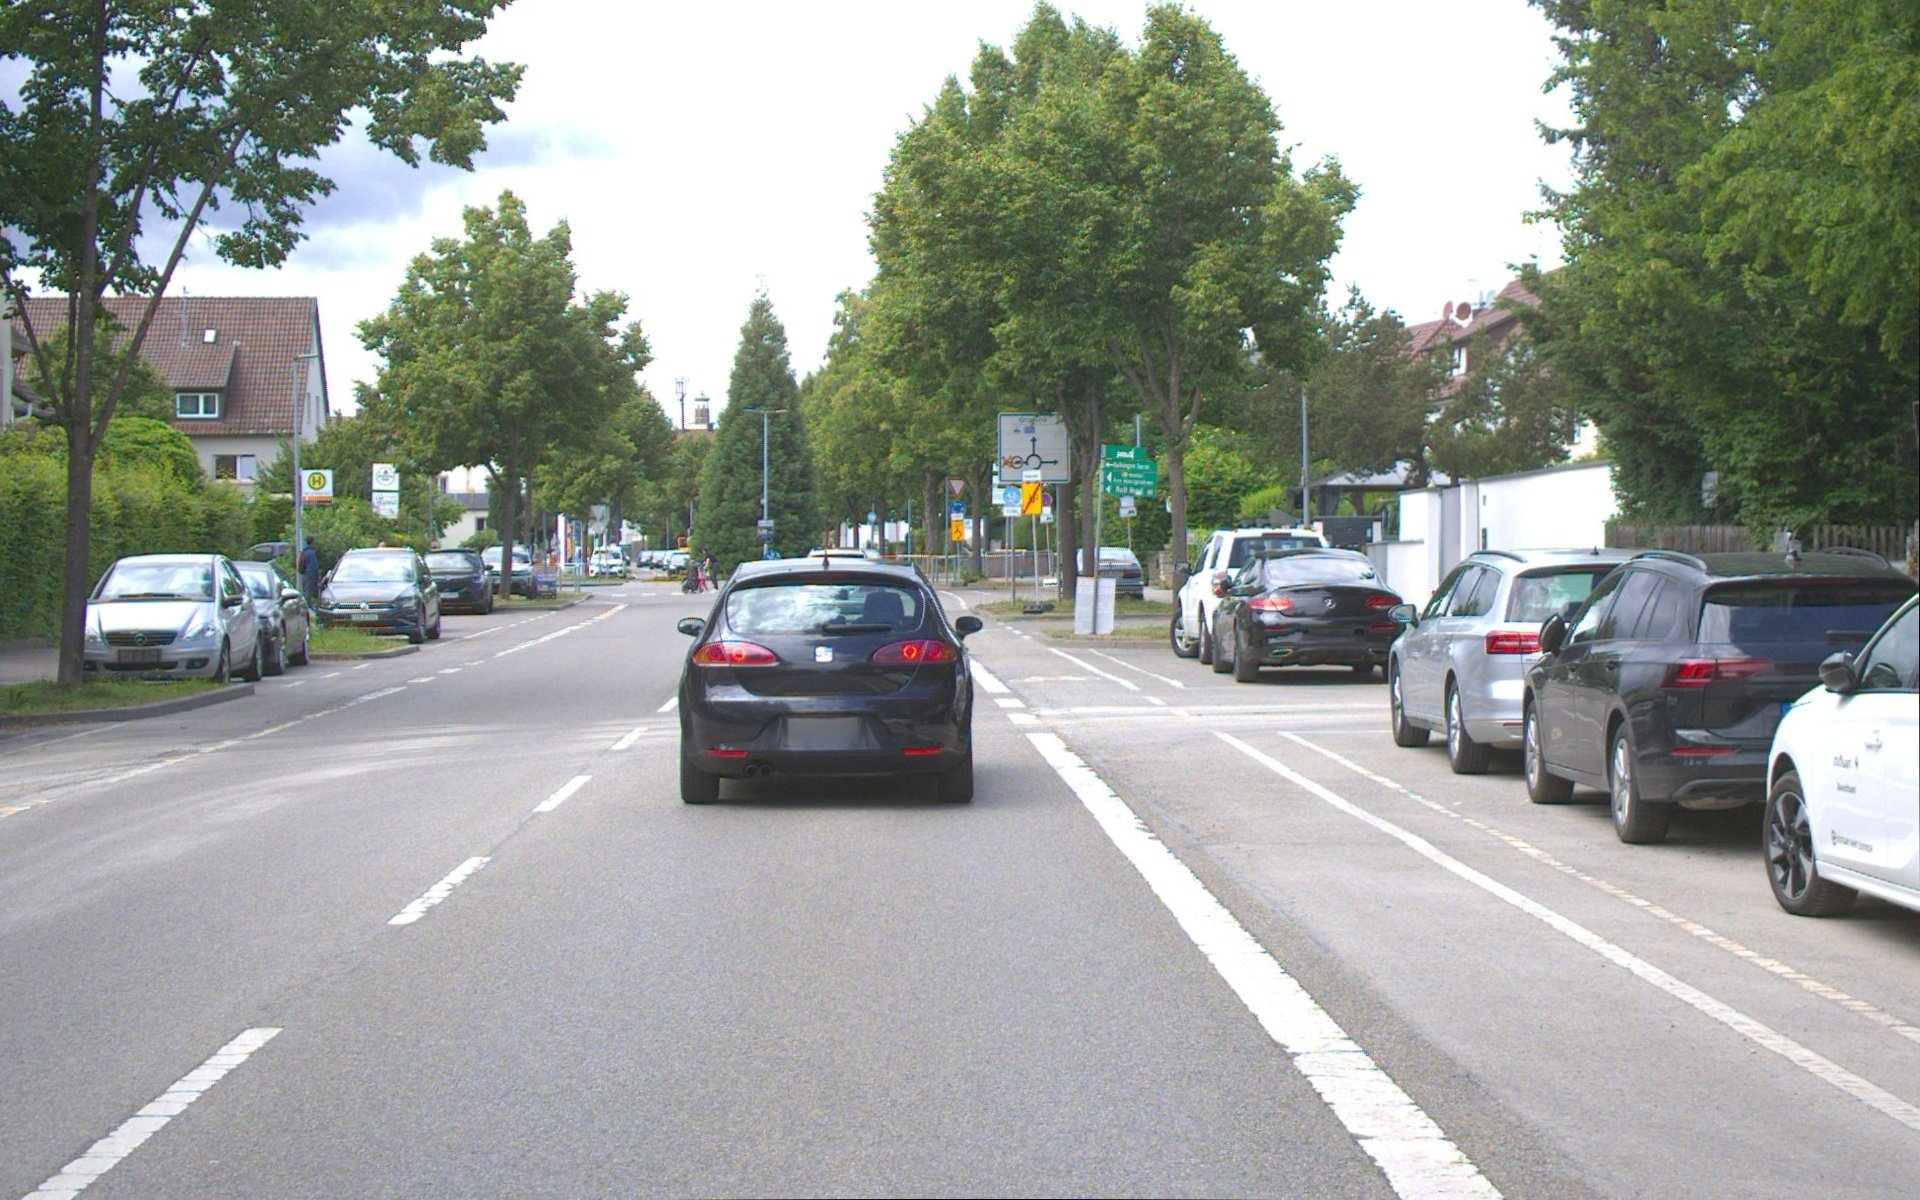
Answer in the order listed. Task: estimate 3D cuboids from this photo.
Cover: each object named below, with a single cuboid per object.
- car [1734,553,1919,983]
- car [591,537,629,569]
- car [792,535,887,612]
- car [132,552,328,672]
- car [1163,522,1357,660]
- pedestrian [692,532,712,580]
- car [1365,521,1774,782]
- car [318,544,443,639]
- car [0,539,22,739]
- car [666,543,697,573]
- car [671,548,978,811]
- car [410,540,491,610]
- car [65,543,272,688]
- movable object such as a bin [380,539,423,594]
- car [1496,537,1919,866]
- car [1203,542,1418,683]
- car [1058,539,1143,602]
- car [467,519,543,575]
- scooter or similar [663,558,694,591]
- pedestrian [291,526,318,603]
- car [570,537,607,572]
[{"bbox_3d":[4.234,0.576,12.845,1.768,1.505,4.031,0,0,0],"label":"car"},{"bbox_3d":[-18.503,-2.494,181.920,1.797,1.596,4.001,-1,1,-4],"label":"car"},{"bbox_3d":[-2.572,-0.580,73.830,1.993,1.607,4.000,0,1,-2],"label":"car"},{"bbox_3d":[-9.815,0.119,46.554,1.993,1.480,4.891,-1,1,-5],"label":"car"},{"bbox_3d":[3.733,-0.128,43.453,1.900,1.637,4.117,-1,1,-3],"label":"car"},{"bbox_3d":[-8.931,-1.515,119.014,0.514,1.664,0.482,0,1,16],"label":"pedestrian"},{"bbox_3d":[4.078,0.298,23.773,1.861,1.605,4.687,1,1,-2],"label":"car"},{"bbox_3d":[-9.868,-0.174,58.779,1.677,1.546,4.273,-1,1,-4],"label":"car"},{"bbox_3d":[-8.840,0.387,26.589,2.095,1.641,5.039,-2,1,-4],"label":"car"},{"bbox_3d":[-15.708,-2.373,193.806,1.568,1.628,3.622,-1,1,-2],"label":"car"},{"bbox_3d":[-0.769,0.421,21.449,1.732,1.481,4.000,0,1,0],"label":"car"},{"bbox_3d":[-12.955,-0.659,87.611,1.724,1.719,4.566,0,1,-4],"label":"car"},{"bbox_3d":[-9.370,0.146,40.981,1.718,1.607,3.911,-1,1,-3],"label":"car"},{"bbox_3d":[-17.311,-1.036,106.548,1.205,1.645,0.998,2,0,-5],"label":"movable object such as a bin"},{"bbox_3d":[4.121,0.443,18.480,1.702,1.505,4.538,1,1,-1],"label":"car"},{"bbox_3d":[3.733,0.089,37.340,1.863,1.412,4.603,0,1,0],"label":"car"},{"bbox_3d":[3.254,-0.670,80.290,1.611,1.372,4.387,-1,0,-2],"label":"car"},{"bbox_3d":[-13.701,-1.598,103.784,1.860,1.648,4.295,0,1,-2],"label":"car"},{"bbox_3d":[-9.753,-0.884,119.112,0.968,1.092,0.406,2,0,20],"label":"scooter or similar"},{"bbox_3d":[-15.494,-0.835,81.281,0.503,1.800,0.671,-1,1,-3],"label":"pedestrian"},{"bbox_3d":[-21.557,-2.664,199.428,2.029,1.964,4.001,-1,1,-5],"label":"car"}]
